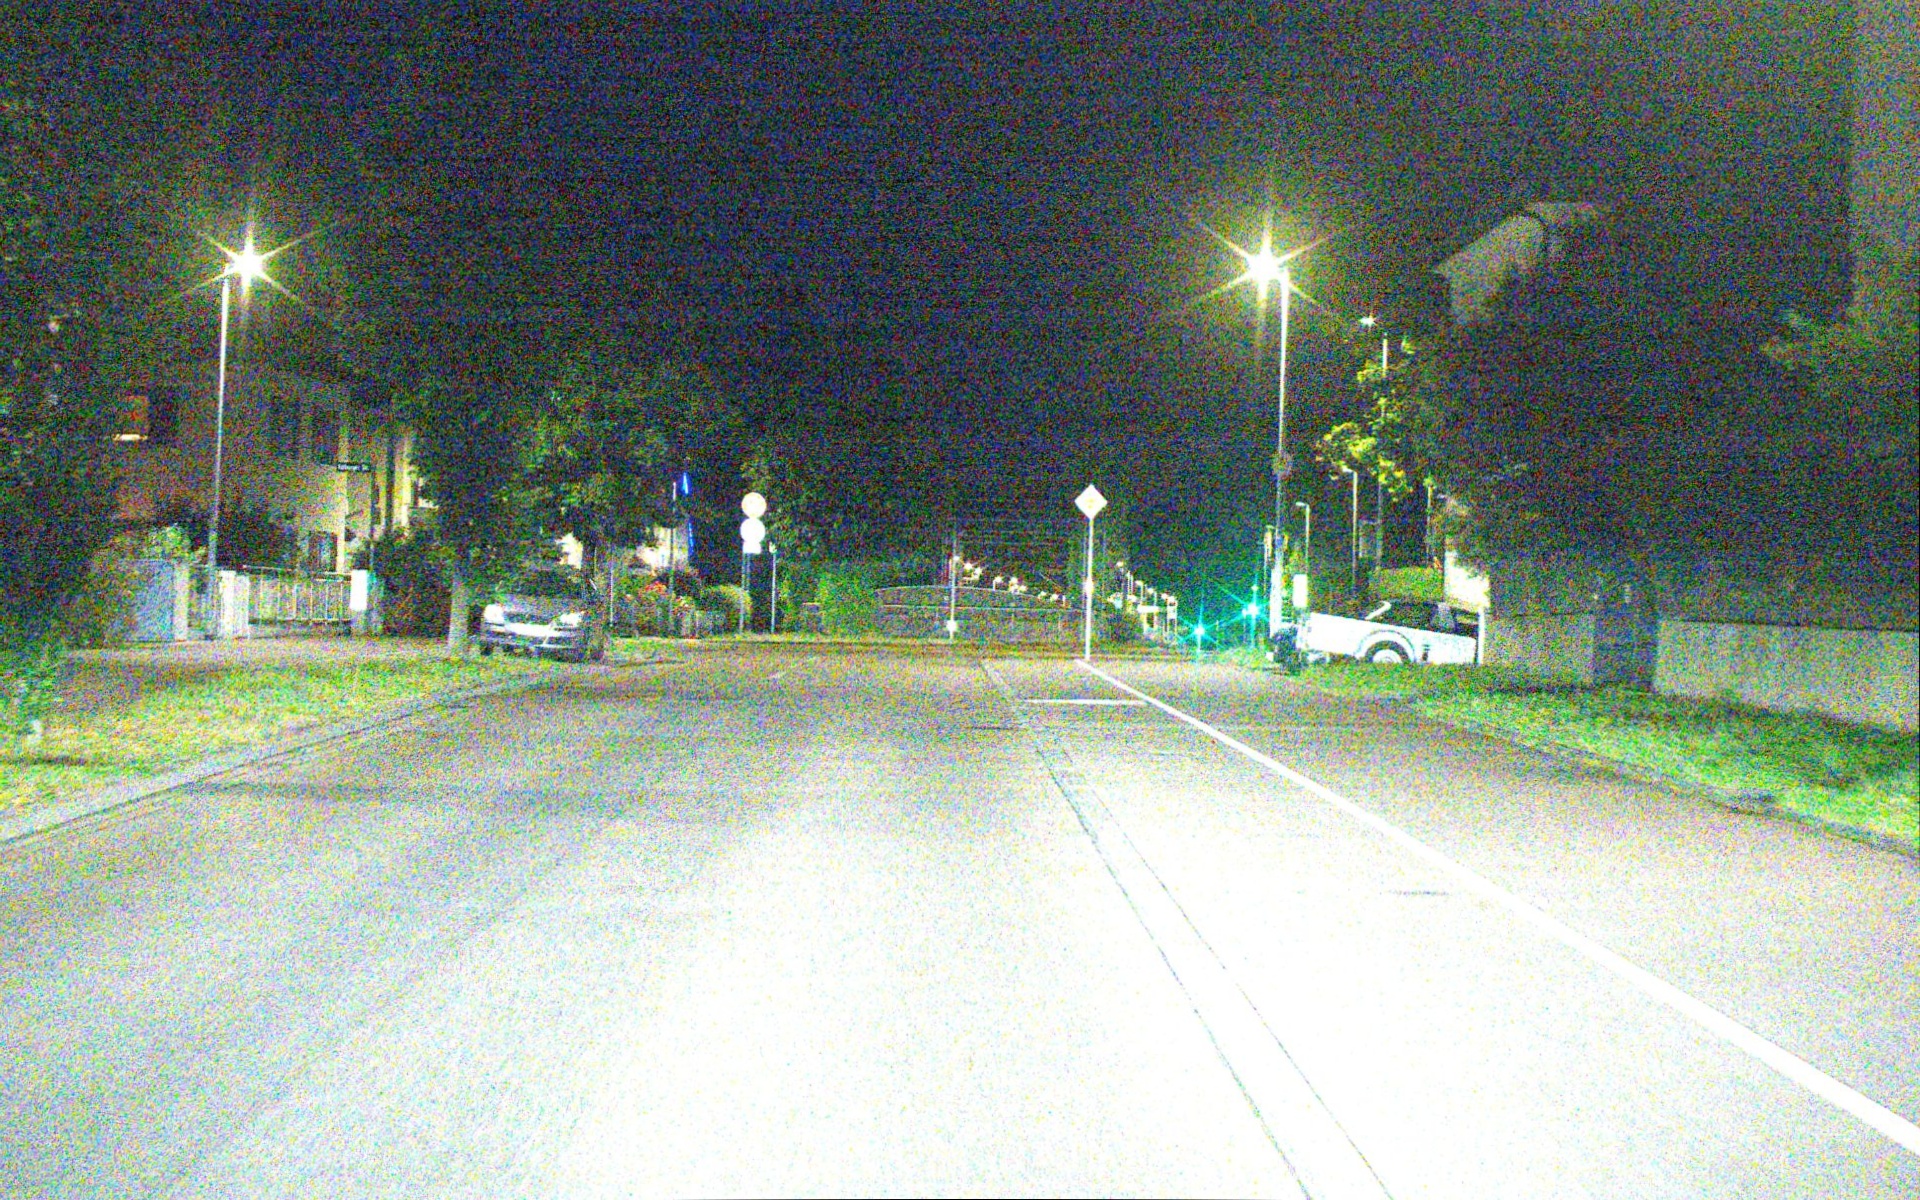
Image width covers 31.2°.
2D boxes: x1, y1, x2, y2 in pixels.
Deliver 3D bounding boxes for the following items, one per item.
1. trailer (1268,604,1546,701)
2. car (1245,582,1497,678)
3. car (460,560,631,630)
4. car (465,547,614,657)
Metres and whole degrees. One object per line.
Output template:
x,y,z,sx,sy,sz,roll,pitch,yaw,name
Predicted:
6.001,0.698,46.448,3.432,0.999,1.954,4,0,0,trailer
5.996,0.429,50.412,3.391,1.228,1.724,2,1,-2,car
-10.122,-0.122,83.982,3.716,1.621,1.781,1,0,18,car
-6.542,0.015,53.851,1.672,1.585,3.987,2,0,2,car
